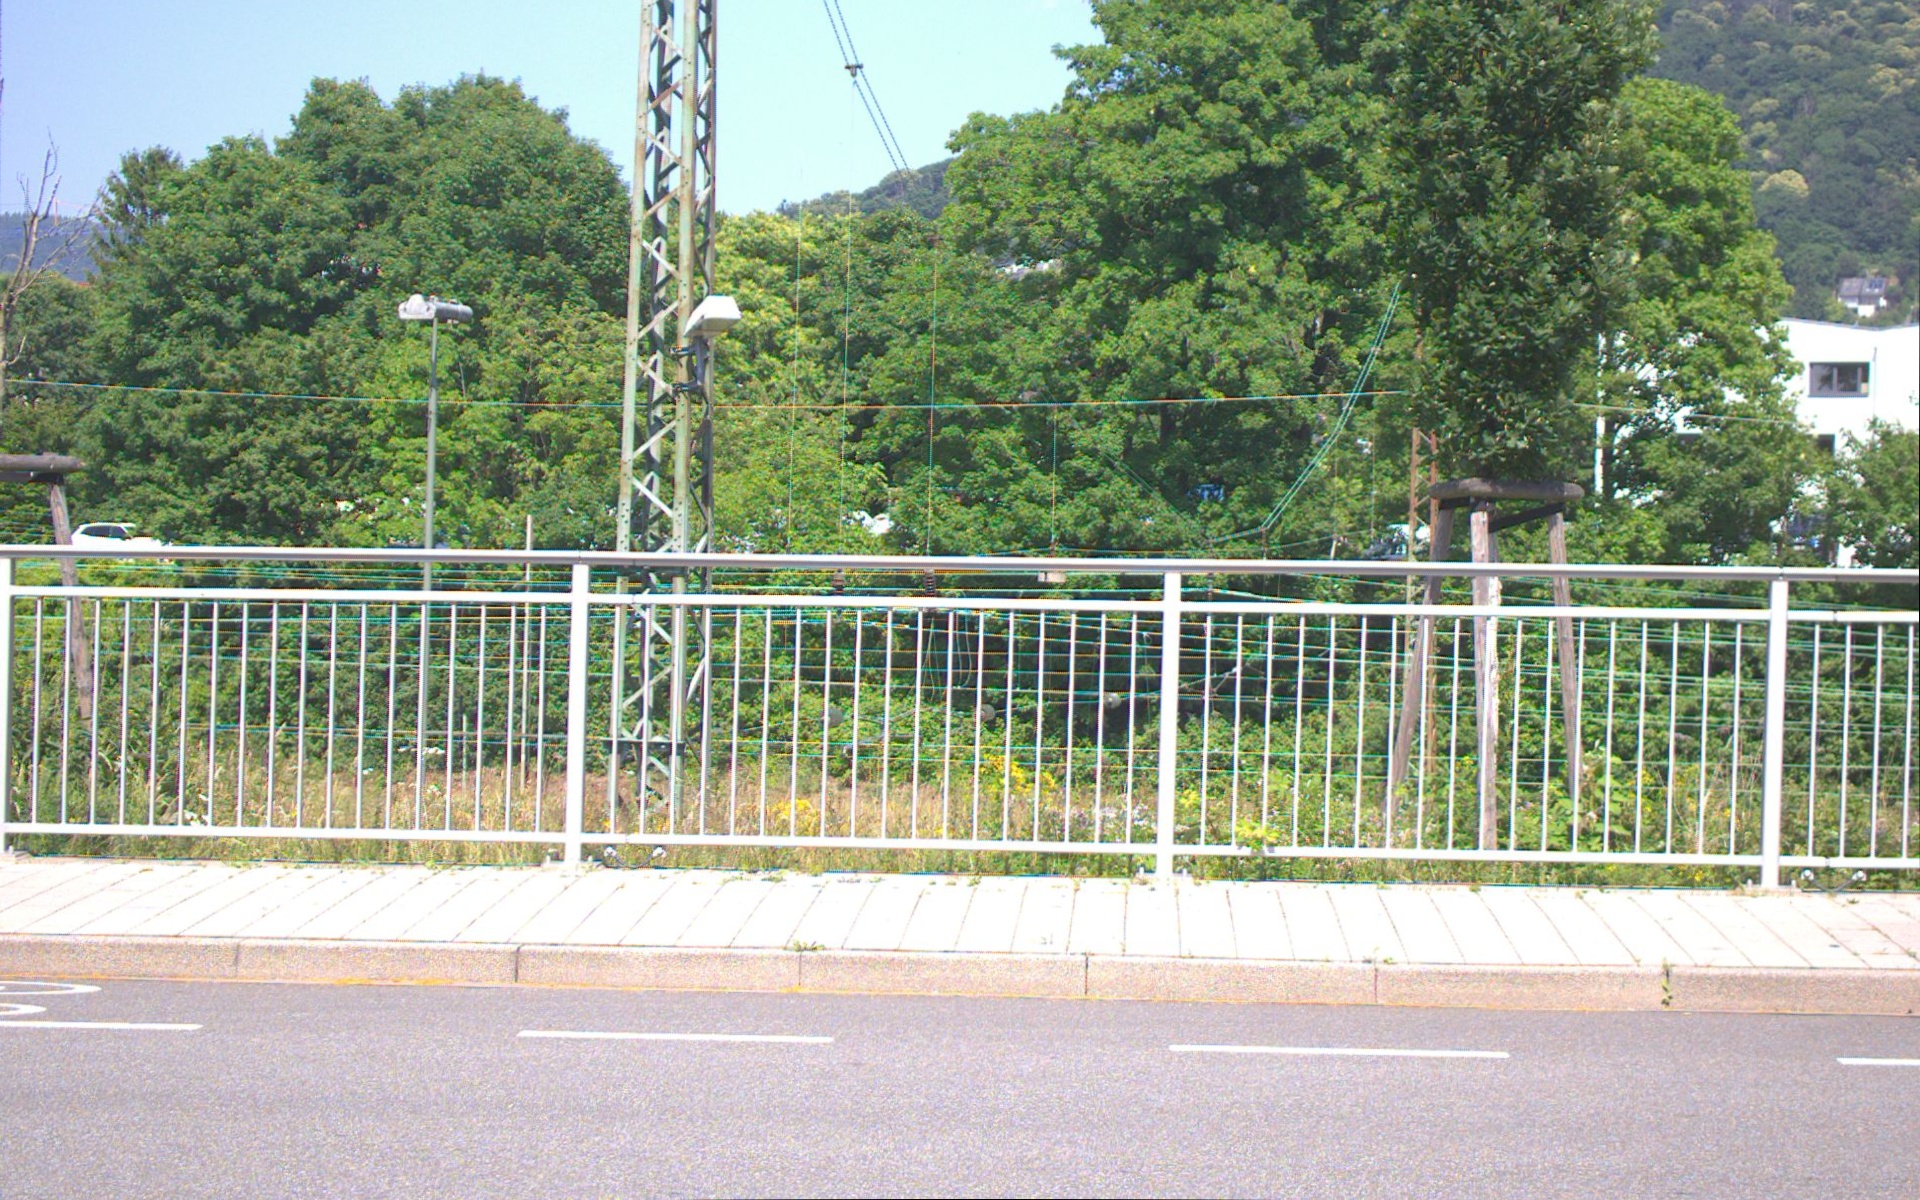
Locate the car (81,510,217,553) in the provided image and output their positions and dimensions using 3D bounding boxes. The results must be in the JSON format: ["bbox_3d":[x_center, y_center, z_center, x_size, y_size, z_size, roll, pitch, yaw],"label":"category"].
[{"bbox_3d":[-26.784,-2.269,113.492,4.310,1.362,1.862,2,2,32],"label":"car"}]
